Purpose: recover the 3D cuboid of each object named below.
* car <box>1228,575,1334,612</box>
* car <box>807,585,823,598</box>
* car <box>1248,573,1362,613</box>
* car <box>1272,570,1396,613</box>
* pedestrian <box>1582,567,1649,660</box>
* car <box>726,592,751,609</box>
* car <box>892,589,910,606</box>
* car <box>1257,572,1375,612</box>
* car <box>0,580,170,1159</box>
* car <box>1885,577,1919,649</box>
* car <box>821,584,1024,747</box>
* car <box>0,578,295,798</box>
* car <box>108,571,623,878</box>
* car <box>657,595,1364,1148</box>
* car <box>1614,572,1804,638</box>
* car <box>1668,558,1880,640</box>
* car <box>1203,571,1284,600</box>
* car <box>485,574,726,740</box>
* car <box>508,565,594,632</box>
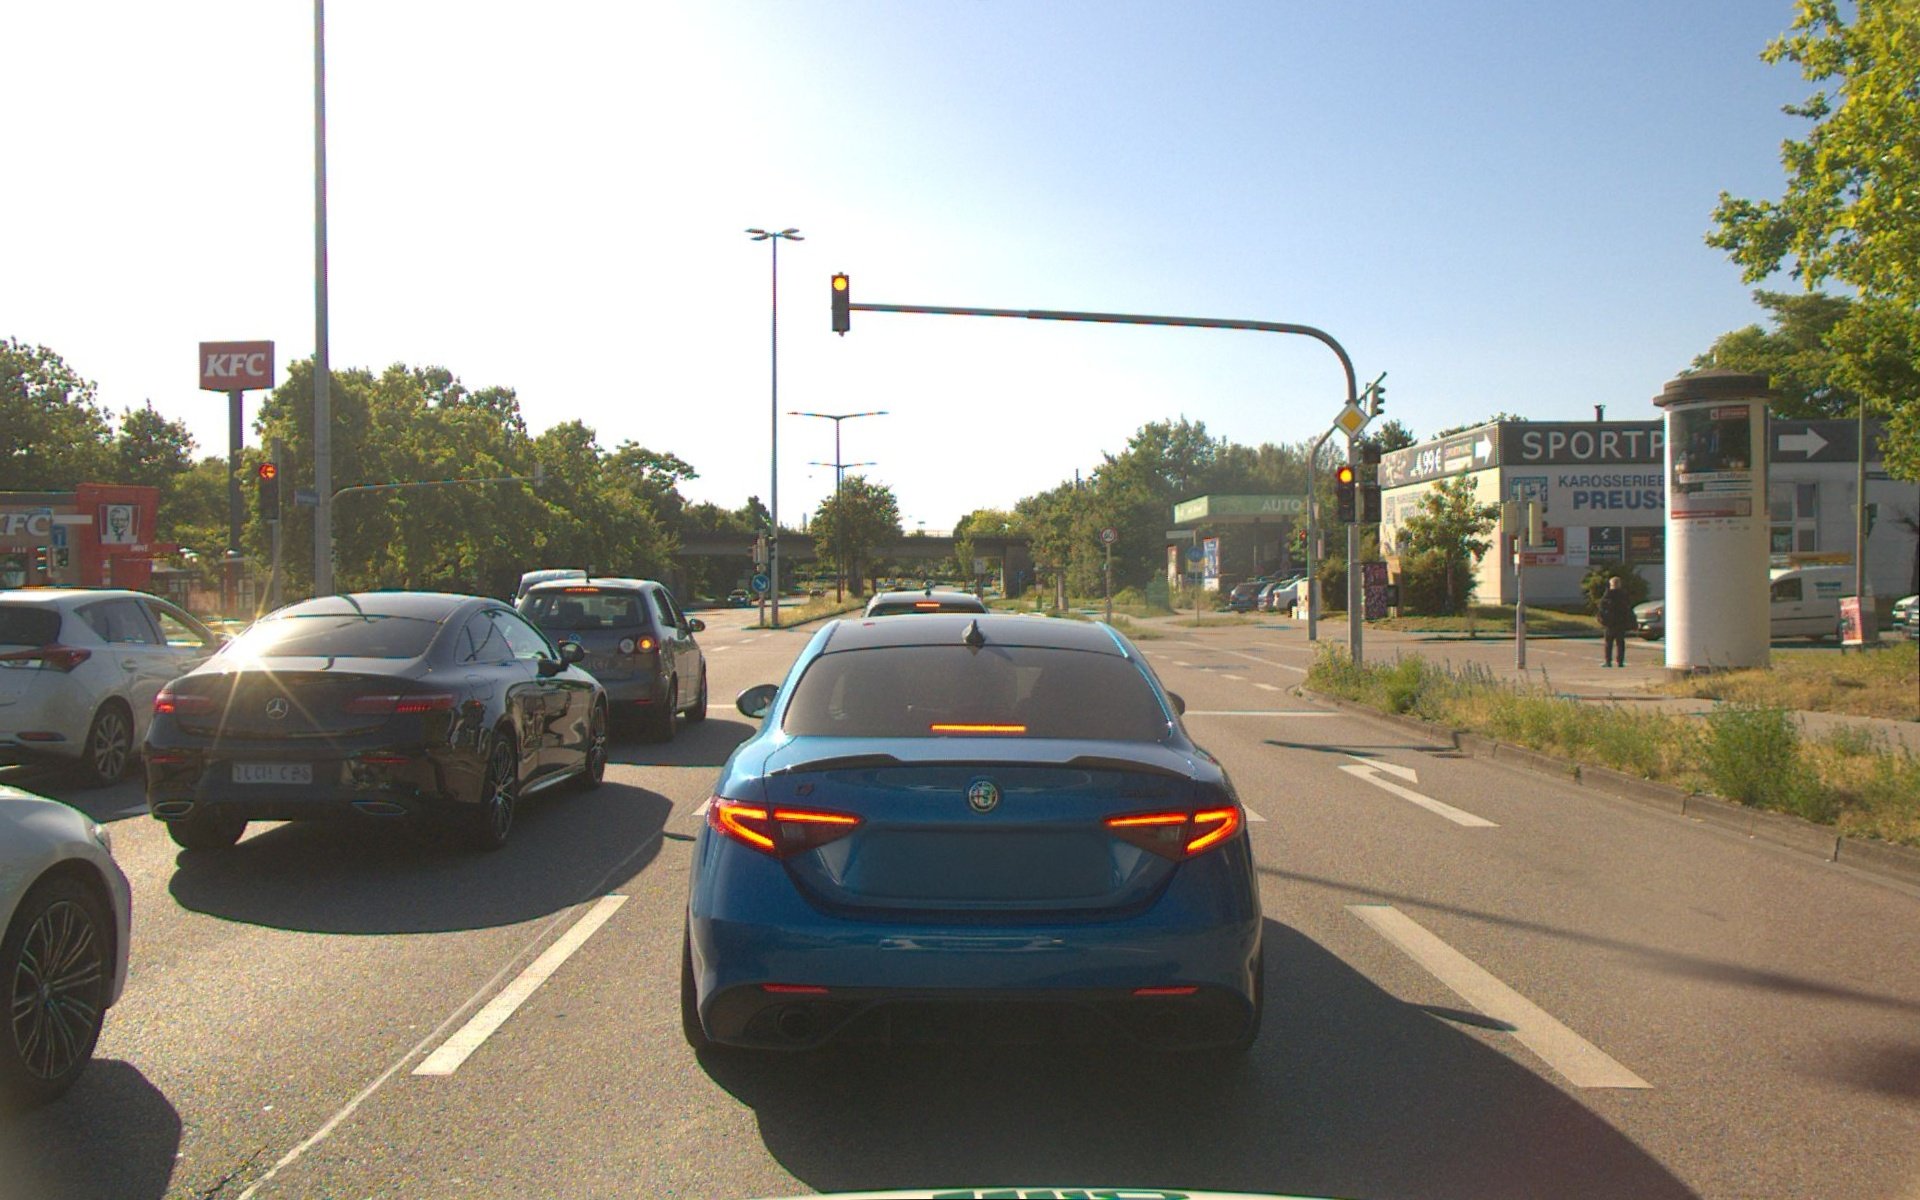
[{"bbox_3d":[14.405,-0.289,74.364,4.397,1.479,1.858,-2,0,1],"label":"car"},{"bbox_3d":[-19.180,-1.110,218.419,1.723,1.516,4.477,-2,0,-1],"label":"car"},{"bbox_3d":[14.634,-0.297,70.317,4.397,1.479,1.858,-2,0,1],"label":"car"},{"bbox_3d":[14.614,-0.321,64.784,4.397,1.479,1.858,-2,0,1],"label":"car"},{"bbox_3d":[12.693,0.258,32.042,0.906,1.765,0.938,1,-1,-1],"label":"pedestrian"},{"bbox_3d":[-21.056,0.040,157.278,1.723,1.516,4.477,-2,0,-1],"label":"car"},{"bbox_3d":[-6.387,-0.241,180.123,1.853,1.847,3.999,1,0,-1],"label":"car"},{"bbox_3d":[14.490,-0.321,67.561,4.397,1.479,1.858,-2,0,1],"label":"car"},{"bbox_3d":[-3.338,0.687,3.037,1.749,1.516,4.401,1,0,-2],"label":"car"},{"bbox_3d":[22.645,0.200,35.688,4.320,1.516,1.765,-2,0,1],"label":"car"},{"bbox_3d":[-0.407,0.604,17.210,1.813,1.443,4.401,1,0,-2],"label":"car"},{"bbox_3d":[-7.112,0.610,13.540,1.723,1.516,4.195,1,0,-2],"label":"car"},{"bbox_3d":[-3.433,0.638,10.541,1.760,1.516,4.474,1,0,-2],"label":"car"},{"bbox_3d":[0.074,0.734,6.583,1.857,1.443,4.401,1,0,-2],"label":"car"},{"bbox_3d":[19.602,0.111,43.365,4.201,1.576,1.764,-1,2,-2],"label":"car"},{"bbox_3d":[19.651,-0.038,40.031,4.293,1.833,1.764,-1,2,-2],"label":"car"},{"bbox_3d":[16.728,-0.848,97.572,4.457,1.516,1.765,-2,0,1],"label":"car"},{"bbox_3d":[-3.618,0.542,17.639,1.723,1.516,4.401,1,0,-2],"label":"car"},{"bbox_3d":[-16.366,-0.057,66.526,1.981,2.489,5.820,-3,0,-1],"label":"car"}]
